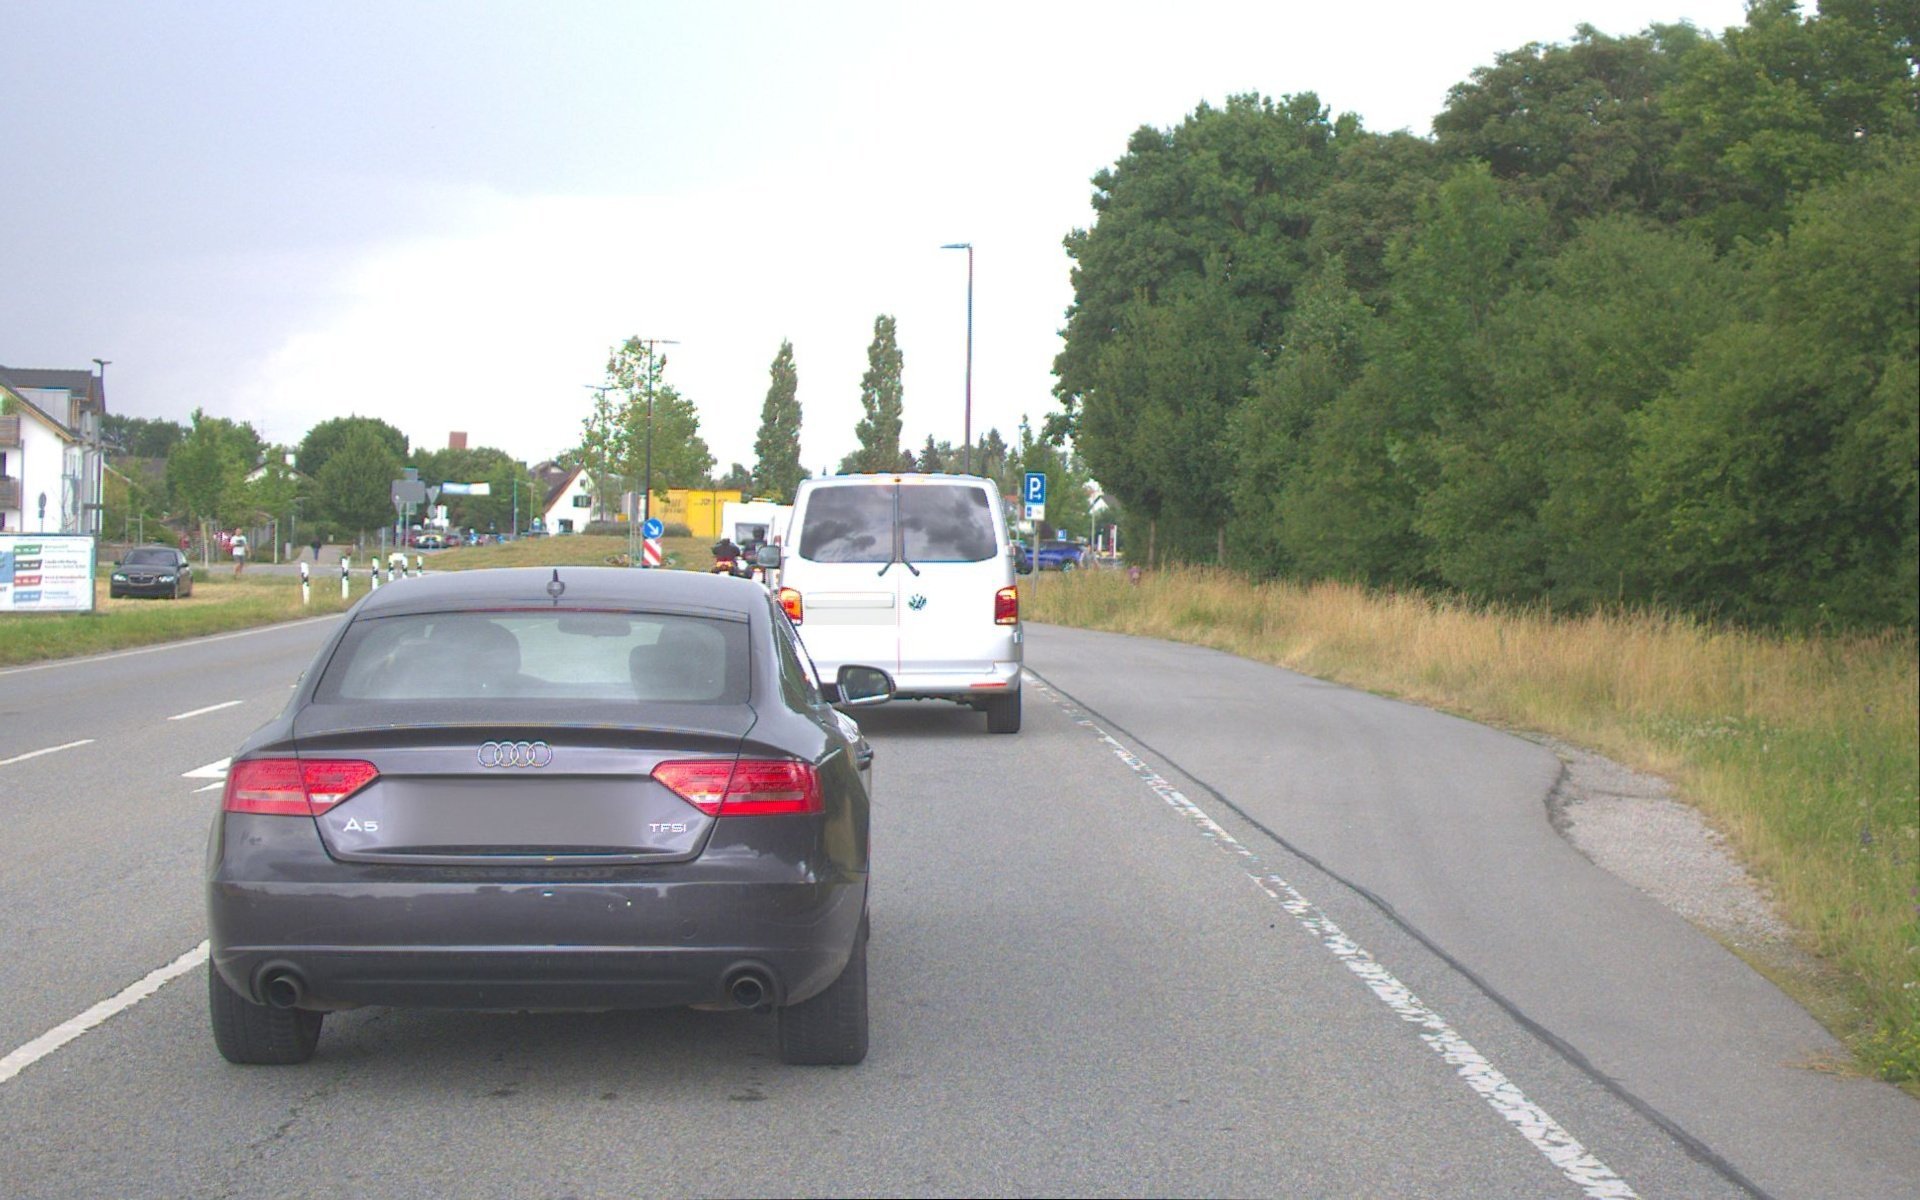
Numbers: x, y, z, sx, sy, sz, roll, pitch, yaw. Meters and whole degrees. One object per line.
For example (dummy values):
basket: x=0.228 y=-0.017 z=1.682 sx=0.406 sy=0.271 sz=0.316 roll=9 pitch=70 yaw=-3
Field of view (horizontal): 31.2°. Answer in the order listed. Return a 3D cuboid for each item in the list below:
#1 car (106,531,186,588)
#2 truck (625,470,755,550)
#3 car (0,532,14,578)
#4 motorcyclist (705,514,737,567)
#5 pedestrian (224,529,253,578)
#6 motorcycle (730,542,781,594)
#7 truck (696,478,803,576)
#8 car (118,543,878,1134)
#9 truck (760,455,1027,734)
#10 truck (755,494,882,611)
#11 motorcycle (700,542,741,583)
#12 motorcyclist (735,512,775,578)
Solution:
car: x=-22.013 y=-1.114 z=93.077 sx=1.993 sy=1.437 sz=4.002 roll=1 pitch=2 yaw=-12
truck: x=-12.856 y=-4.271 z=162.564 sx=3.575 sy=3.566 sz=9.960 roll=1 pitch=1 yaw=-19
car: x=-31.032 y=-1.386 z=105.348 sx=1.995 sy=1.441 sz=4.208 roll=1 pitch=1 yaw=17
motorcyclist: x=-6.240 y=-1.548 z=89.705 sx=0.785 sy=1.352 sz=0.854 roll=1 pitch=1 yaw=-7
pedestrian: x=-23.662 y=-1.534 z=112.741 sx=0.701 sy=1.580 sz=0.657 roll=1 pitch=1 yaw=16
motorcycle: x=-4.359 y=-0.690 z=73.550 sx=0.920 sy=1.090 sz=2.189 roll=1 pitch=1 yaw=1
truck: x=-6.215 y=-2.142 z=100.937 sx=2.625 sy=2.728 sz=5.869 roll=1 pitch=1 yaw=-8
car: x=-1.211 y=0.558 z=10.609 sx=1.875 sy=1.449 sz=4.177 roll=0 pitch=1 yaw=-2
truck: x=-0.530 y=-0.086 z=27.227 sx=1.904 sy=1.991 sz=4.629 roll=1 pitch=1 yaw=-1
truck: x=-2.534 y=-0.877 z=62.708 sx=2.193 sy=2.007 sz=5.085 roll=1 pitch=1 yaw=-1
motorcycle: x=-6.258 y=-0.984 z=89.839 sx=0.944 sy=1.016 sz=2.284 roll=1 pitch=1 yaw=-7
motorcyclist: x=-4.378 y=-1.175 z=73.532 sx=0.772 sy=1.379 sz=0.820 roll=1 pitch=1 yaw=1
